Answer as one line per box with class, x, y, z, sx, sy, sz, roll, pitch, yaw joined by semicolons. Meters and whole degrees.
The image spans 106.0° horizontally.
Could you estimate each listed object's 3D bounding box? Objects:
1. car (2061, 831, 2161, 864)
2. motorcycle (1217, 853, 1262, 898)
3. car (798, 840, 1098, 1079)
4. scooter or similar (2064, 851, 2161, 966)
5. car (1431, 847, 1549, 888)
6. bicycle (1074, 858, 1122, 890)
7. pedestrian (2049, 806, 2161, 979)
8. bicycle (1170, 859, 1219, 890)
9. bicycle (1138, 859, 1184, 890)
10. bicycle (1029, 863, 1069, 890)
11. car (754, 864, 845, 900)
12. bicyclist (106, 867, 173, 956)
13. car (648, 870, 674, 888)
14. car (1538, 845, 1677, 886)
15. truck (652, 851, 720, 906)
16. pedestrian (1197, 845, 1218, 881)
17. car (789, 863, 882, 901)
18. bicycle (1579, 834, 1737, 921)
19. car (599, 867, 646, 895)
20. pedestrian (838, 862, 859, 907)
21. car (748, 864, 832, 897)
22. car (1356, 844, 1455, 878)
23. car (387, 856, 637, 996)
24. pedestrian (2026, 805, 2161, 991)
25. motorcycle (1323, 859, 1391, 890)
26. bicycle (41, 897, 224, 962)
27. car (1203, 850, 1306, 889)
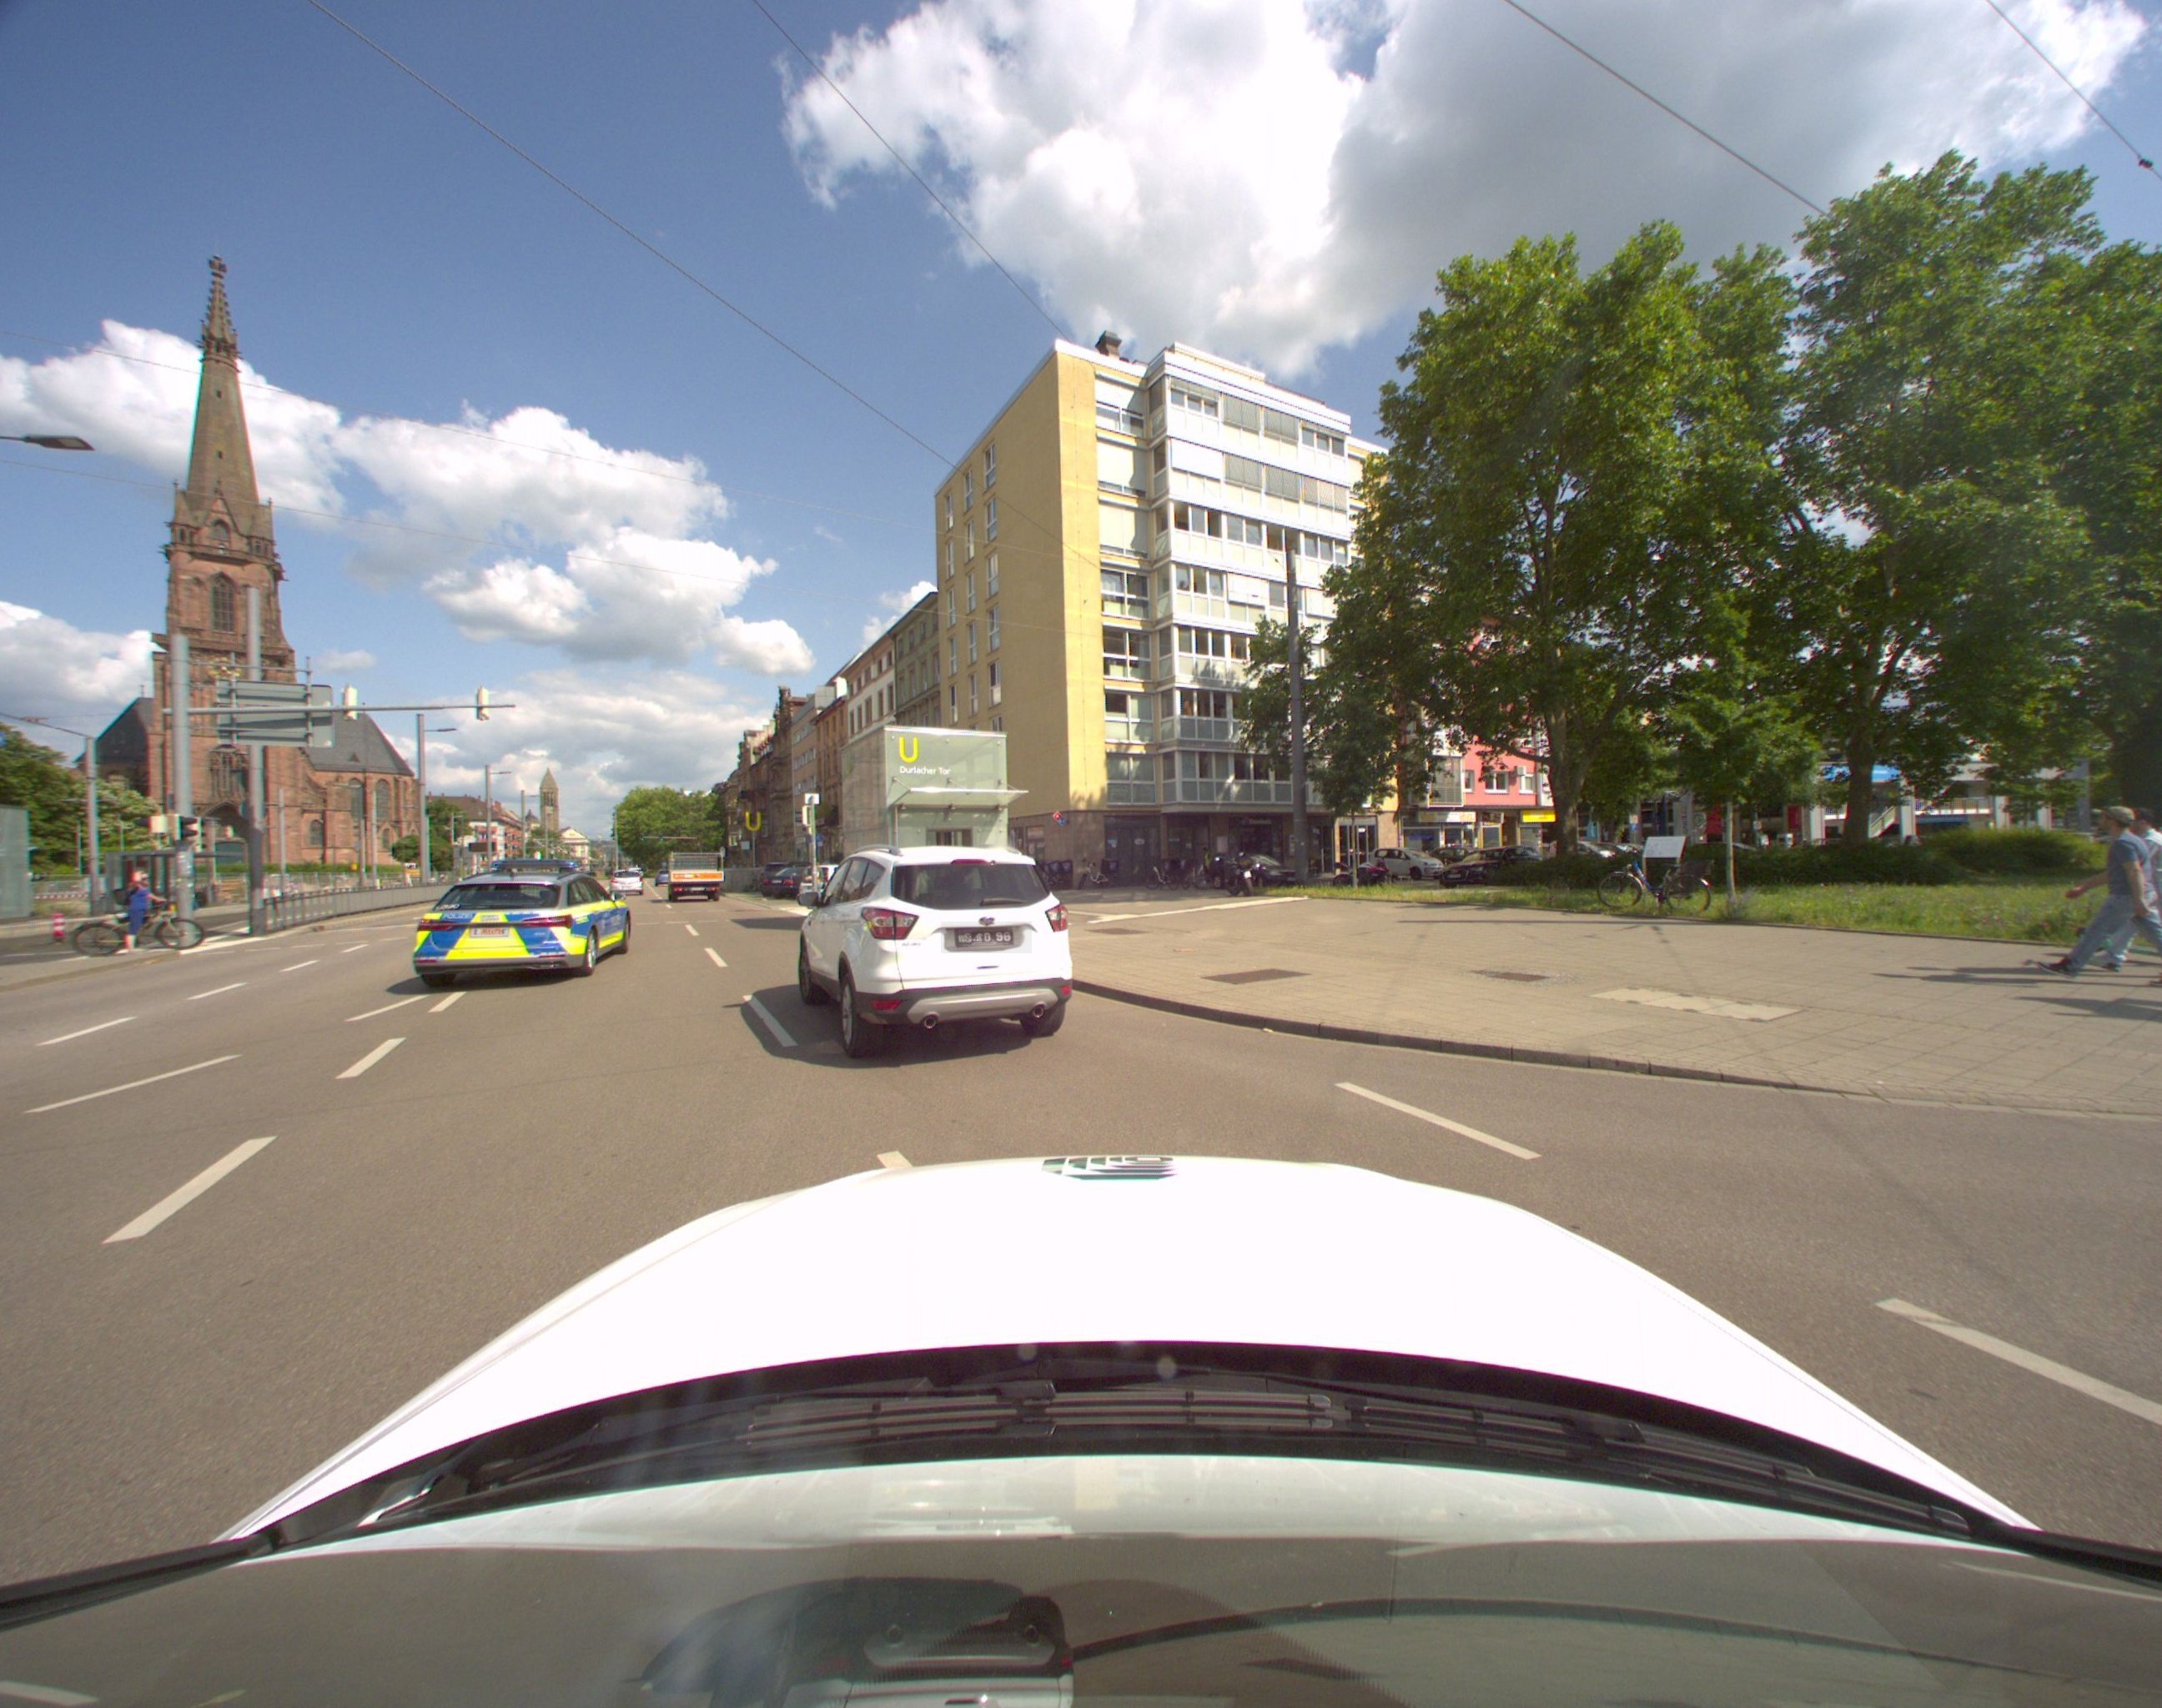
car;60.255;-0.340;47.233;1.835;1.790;3.988;-1;-1;-8
motorcycle;4.638;0.605;23.950;0.899;1.238;2.220;-3;0;2
car;-1.536;0.753;7.863;1.836;1.664;3.922;-1;-1;-25
scooter or similar;11.785;0.584;9.061;0.396;1.193;1.178;-1;1;9
car;14.911;0.467;29.661;4.010;1.413;1.894;0;-1;-28
bicycle;0.705;0.829;34.091;1.810;1.258;0.791;-2;0;-21
pedestrian;10.913;0.376;8.555;0.592;1.743;0.916;-2;2;-36
bicycle;4.417;0.776;31.912;0.800;1.147;1.929;-2;0;-34
bicycle;3.099;0.782;31.785;0.800;1.147;1.790;-2;0;-34
bicycle;-1.374;0.941;34.514;0.800;1.104;1.790;-2;0;-35
car;-12.579;1.205;36.620;1.878;1.496;3.917;-1;-1;18
bicyclist;-20.118;1.211;17.416;0.713;1.797;0.771;-2;2;-34
car;-35.812;2.072;69.407;1.748;1.376;3.961;-1;0;-30
car;18.432;0.405;28.719;1.632;1.327;3.975;0;-1;-18
truck;-17.509;1.025;35.970;2.353;2.155;5.796;-1;0;-29
pedestrian;5.756;0.401;37.108;0.854;1.607;0.832;-1;1;1
car;-10.492;1.168;35.133;1.878;1.496;3.918;-1;-1;19
bicycle;10.283;0.383;14.611;0.815;1.414;2.154;-2;1;-31
car;-26.285;1.525;46.663;1.862;1.474;3.956;-2;0;-36
pedestrian;-8.107;1.071;28.377;0.556;1.534;0.694;-1;-1;-25
car;-14.103;1.255;39.714;1.878;1.496;3.917;-1;-1;18
car;15.026;0.333;37.859;1.809;1.495;3.960;-2;0;-31
car;-7.996;0.887;11.990;1.887;1.568;4.583;-2;-1;-21
pedestrian;10.146;0.398;8.105;0.592;1.743;0.916;-2;2;-36
motorcycle;8.962;0.665;26.462;2.020;0.917;0.815;-3;0;20
bicycle;-20.170;1.571;17.424;2.367;1.137;0.880;-2;2;-35
car;6.755;0.589;32.063;1.678;1.398;3.960;0;0;-32
